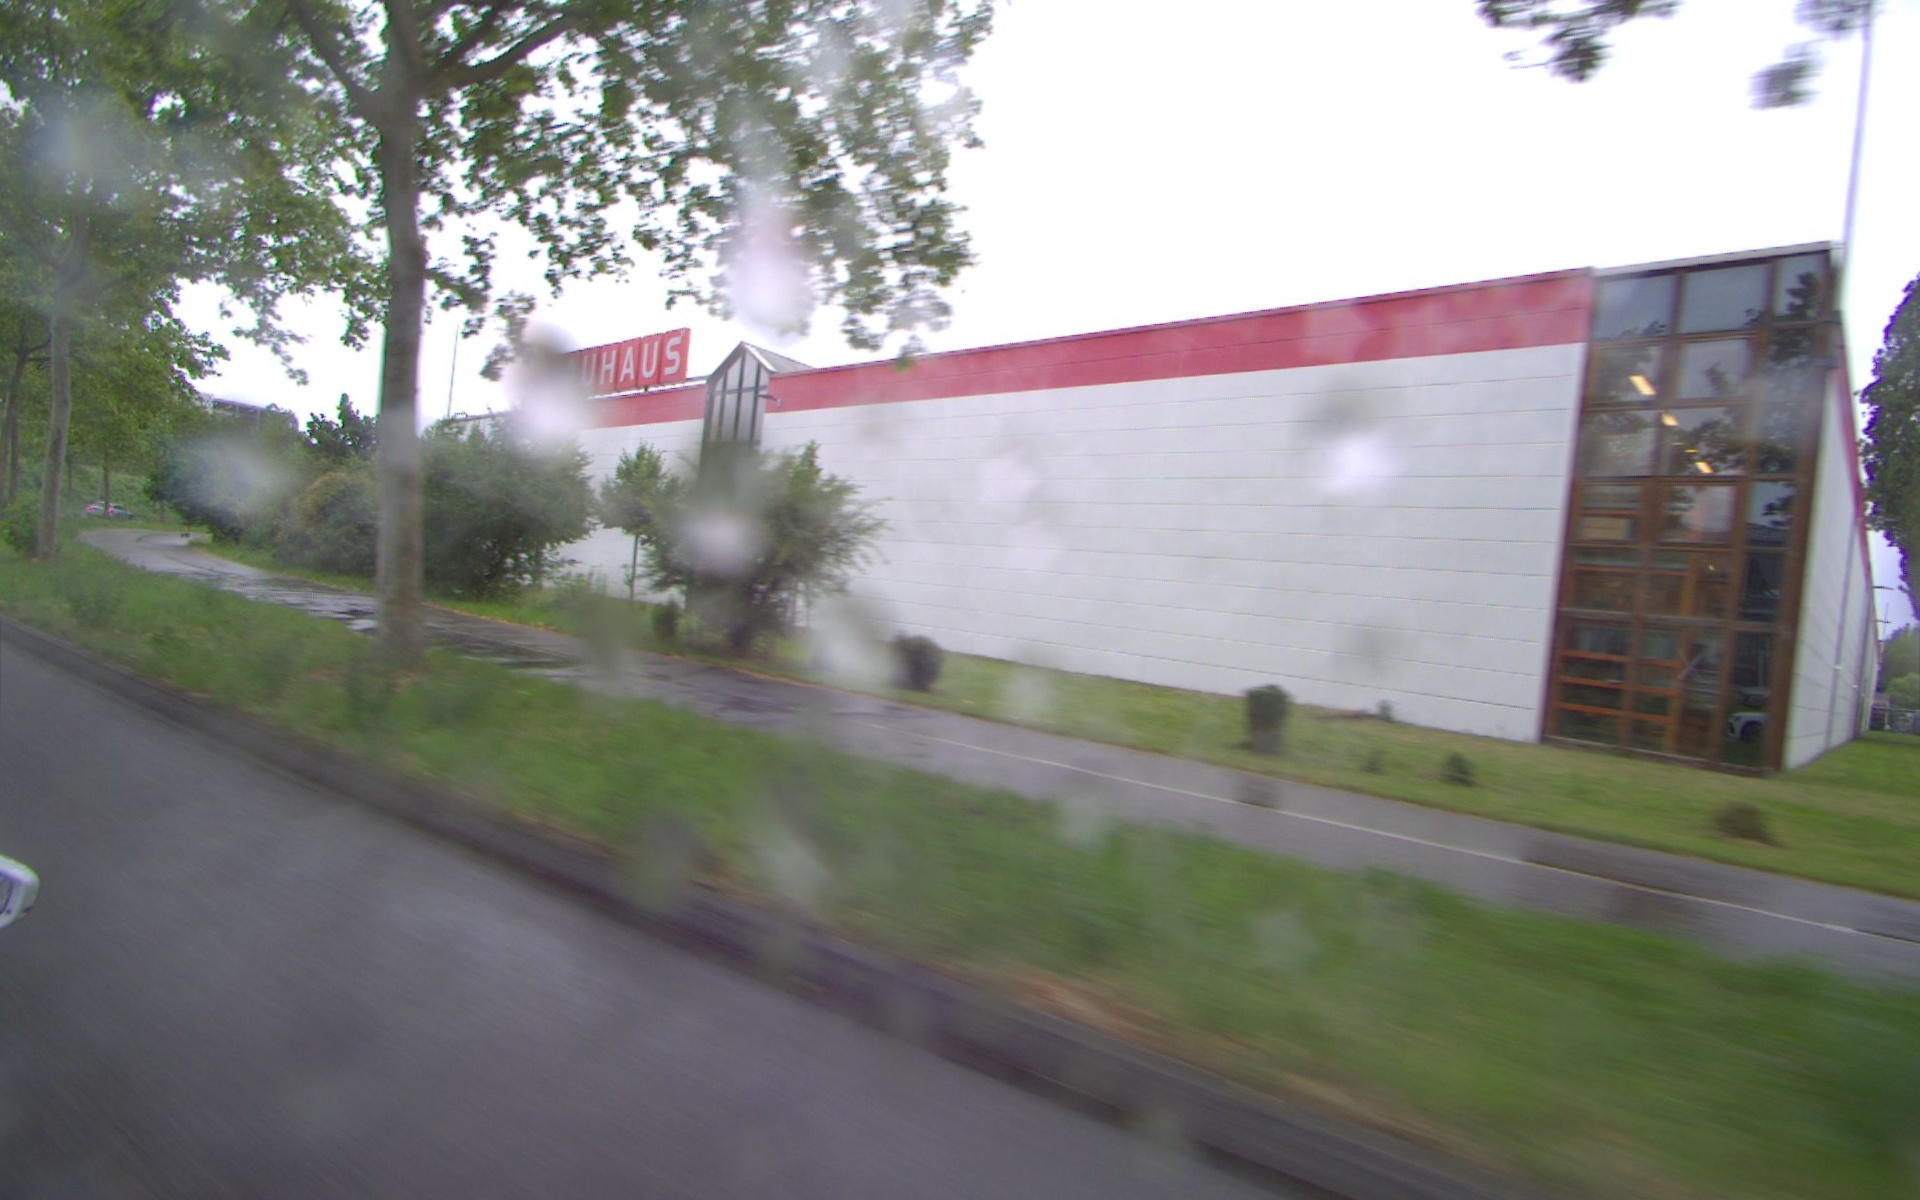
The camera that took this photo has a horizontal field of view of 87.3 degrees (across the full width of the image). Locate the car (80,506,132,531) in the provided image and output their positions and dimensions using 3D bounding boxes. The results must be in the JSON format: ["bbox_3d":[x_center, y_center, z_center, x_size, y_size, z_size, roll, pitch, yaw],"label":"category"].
[{"bbox_3d":[-69.439,-6.623,81.872,1.761,1.574,3.981,9,-1,-20],"label":"car"}]

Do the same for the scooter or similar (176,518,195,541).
[{"bbox_3d":[-43.347,-3.952,56.284,1.096,1.212,0.548,7,0,41],"label":"scooter or similar"}]
